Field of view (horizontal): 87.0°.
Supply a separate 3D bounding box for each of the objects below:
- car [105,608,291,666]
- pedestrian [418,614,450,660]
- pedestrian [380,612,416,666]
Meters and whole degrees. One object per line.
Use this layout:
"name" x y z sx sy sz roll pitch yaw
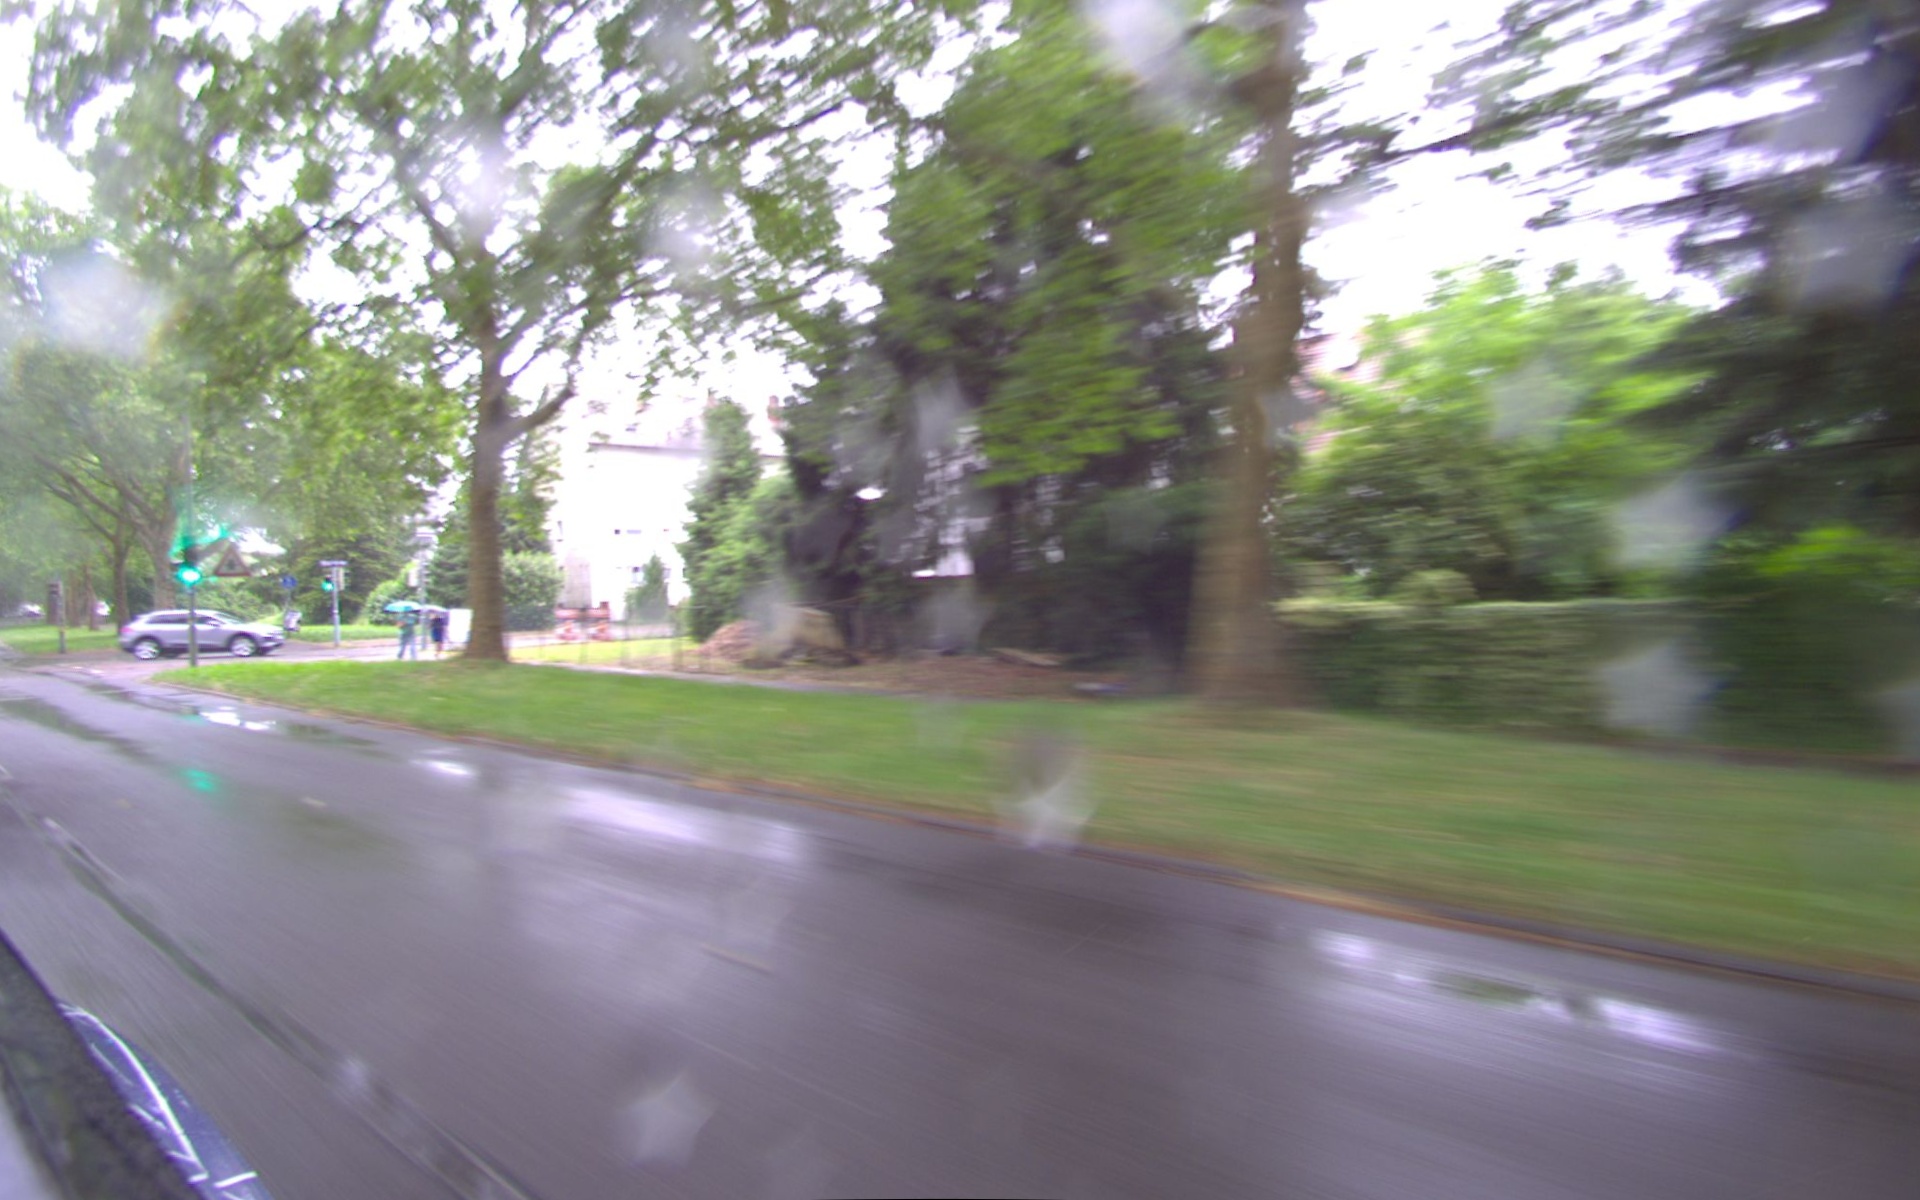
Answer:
"car" -25.900 1.227 34.567 4.643 1.700 2.005 -2 1 -13
"pedestrian" -15.073 1.062 28.996 0.849 1.271 0.511 -1 1 42
"pedestrian" -15.771 1.080 28.384 0.856 1.464 0.591 -1 1 42
